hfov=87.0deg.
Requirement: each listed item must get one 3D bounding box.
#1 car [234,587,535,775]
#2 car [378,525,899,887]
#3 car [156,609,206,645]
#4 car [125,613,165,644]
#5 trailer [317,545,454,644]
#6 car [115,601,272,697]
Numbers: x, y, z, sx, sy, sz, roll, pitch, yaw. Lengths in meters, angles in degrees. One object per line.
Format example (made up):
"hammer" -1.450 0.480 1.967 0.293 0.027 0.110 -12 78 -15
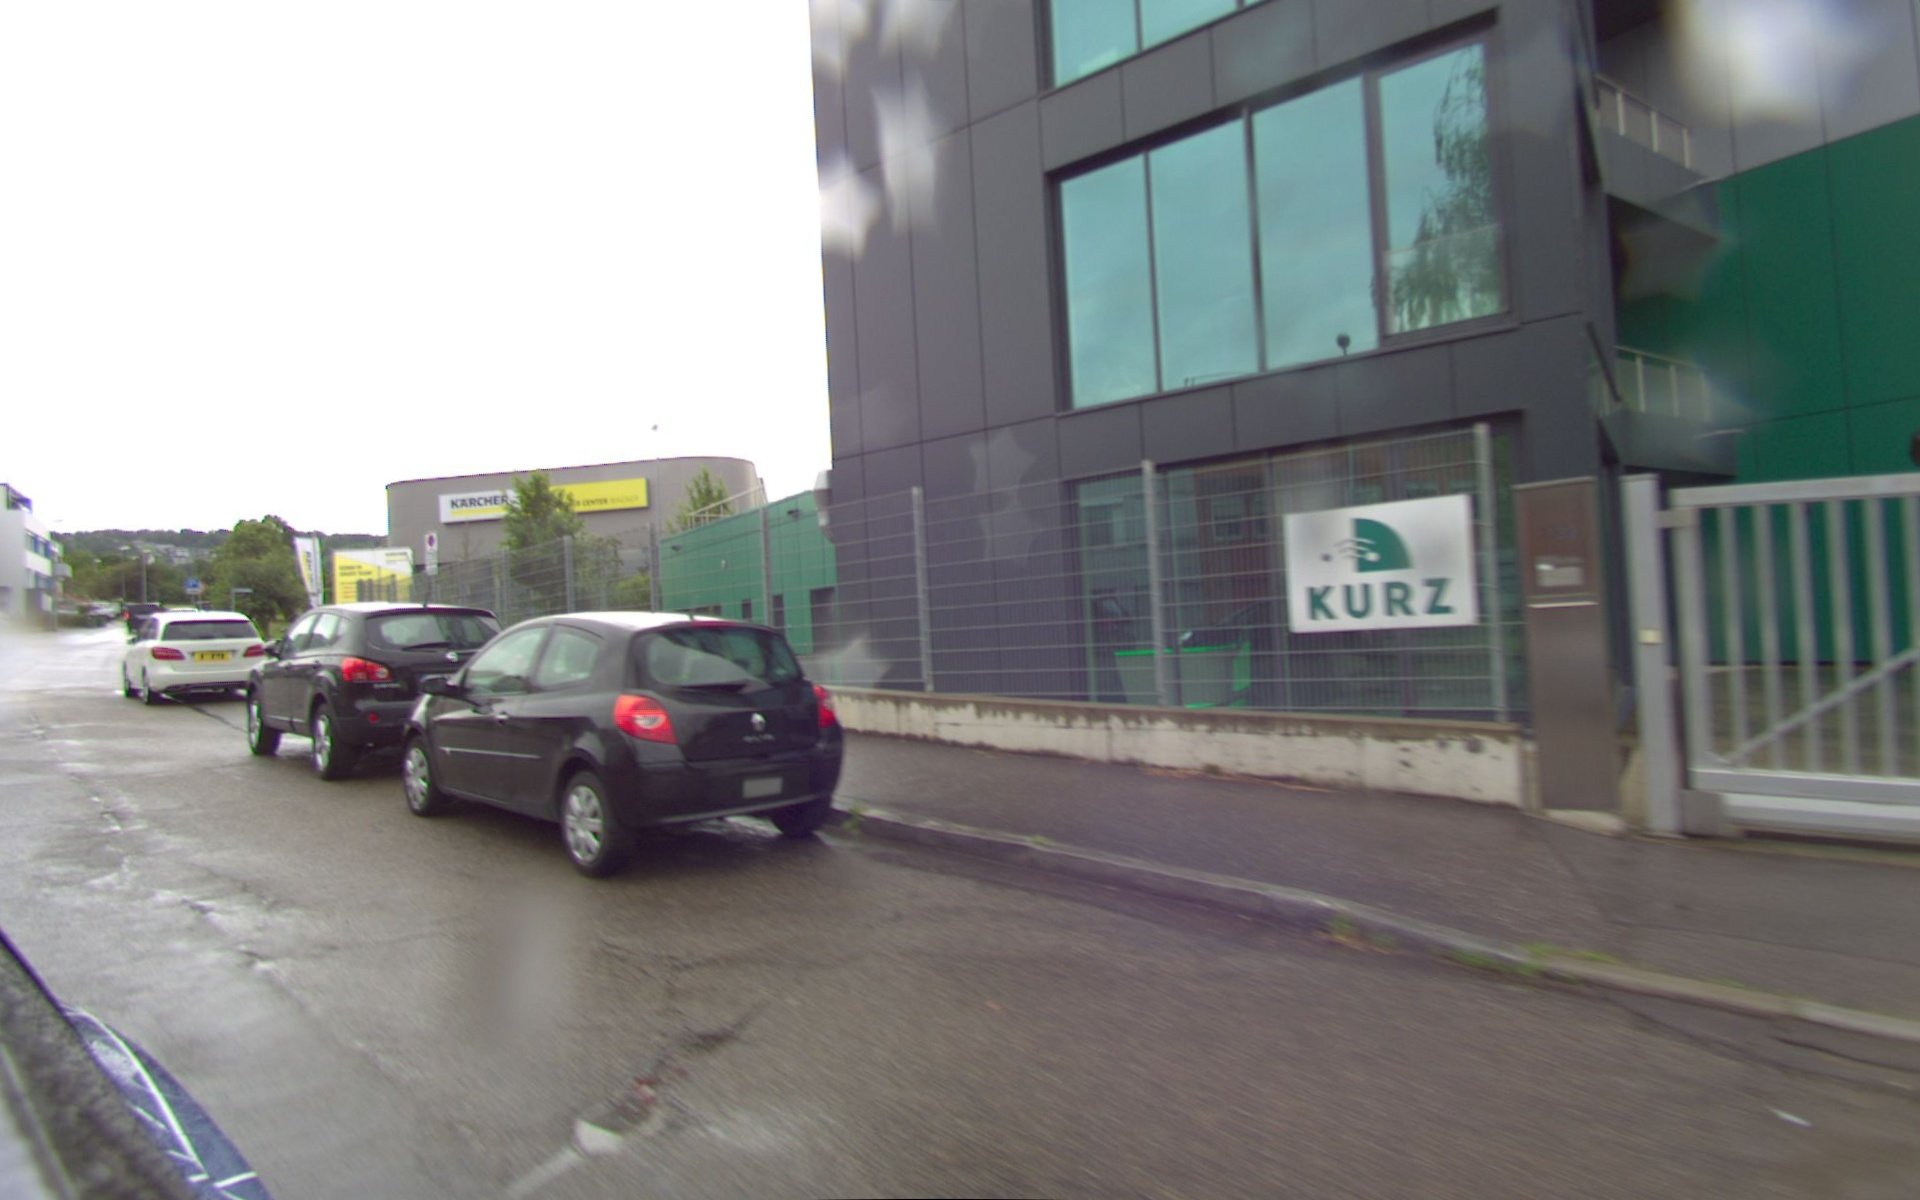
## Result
"car" -6.056 0.714 10.434 4.085 1.570 1.614 -1 -1 44
"car" -2.422 0.551 7.056 3.958 1.811 1.721 -1 -1 42
"car" -43.545 1.519 56.558 1.969 1.928 4.006 0 -1 -41
"car" -54.946 1.893 68.208 2.036 2.029 4.519 0 -1 -40
"trailer" -24.943 -0.217 44.059 4.638 4.120 2.386 -1 0 4
"car" -14.147 0.829 18.598 4.252 1.547 1.715 -1 0 45
